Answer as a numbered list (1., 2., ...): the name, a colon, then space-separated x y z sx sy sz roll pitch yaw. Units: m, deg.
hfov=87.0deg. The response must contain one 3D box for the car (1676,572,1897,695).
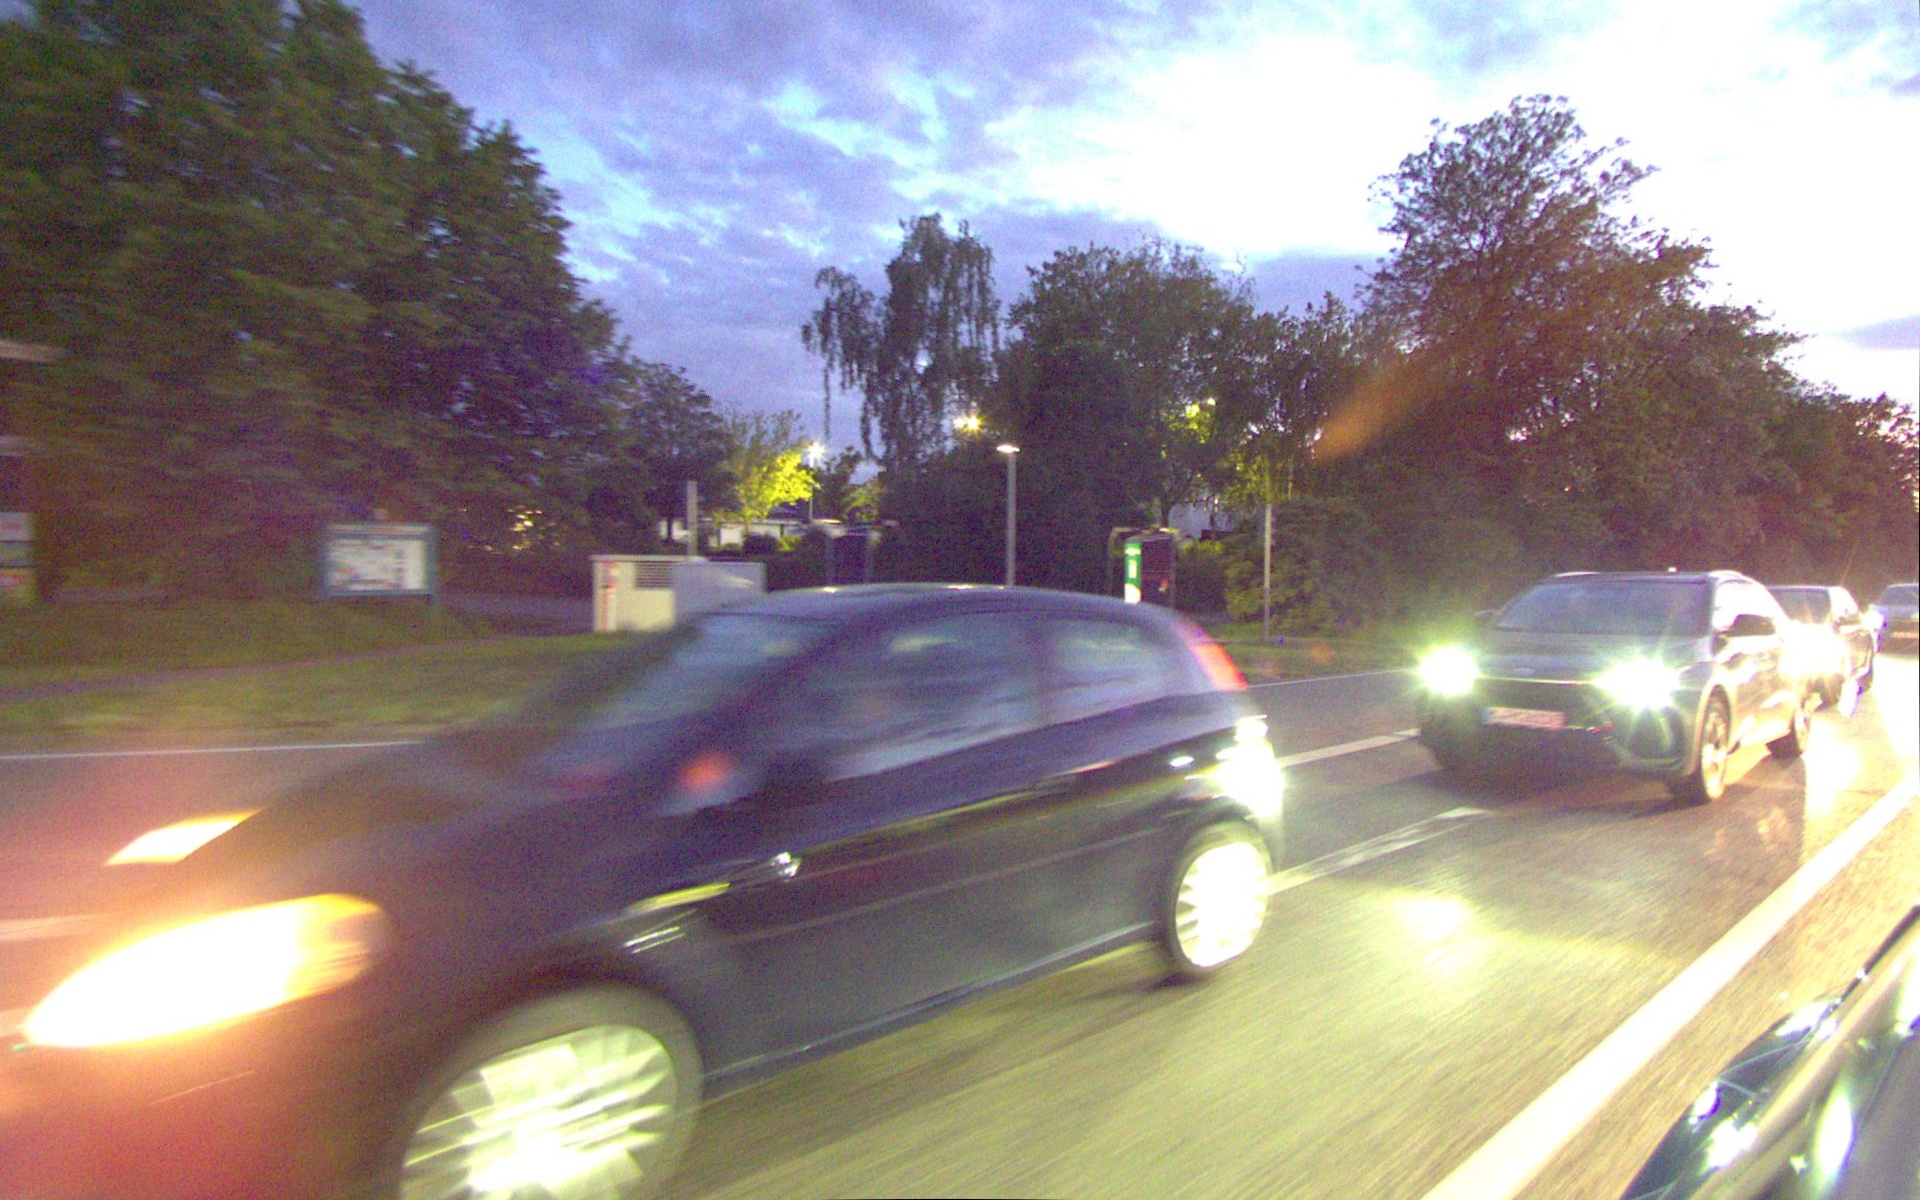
1. car: 11.156 0.357 13.587 3.688 1.431 1.621 0 1 -40

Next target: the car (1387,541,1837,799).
1. car: 5.464 0.422 8.271 4.224 1.577 1.901 0 -1 -40

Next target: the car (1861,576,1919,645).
1. car: 21.266 0.177 22.147 3.931 1.385 1.817 -2 1 -41

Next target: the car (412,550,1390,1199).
1. car: 0.021 0.600 4.068 3.649 1.556 1.662 -2 2 -40
